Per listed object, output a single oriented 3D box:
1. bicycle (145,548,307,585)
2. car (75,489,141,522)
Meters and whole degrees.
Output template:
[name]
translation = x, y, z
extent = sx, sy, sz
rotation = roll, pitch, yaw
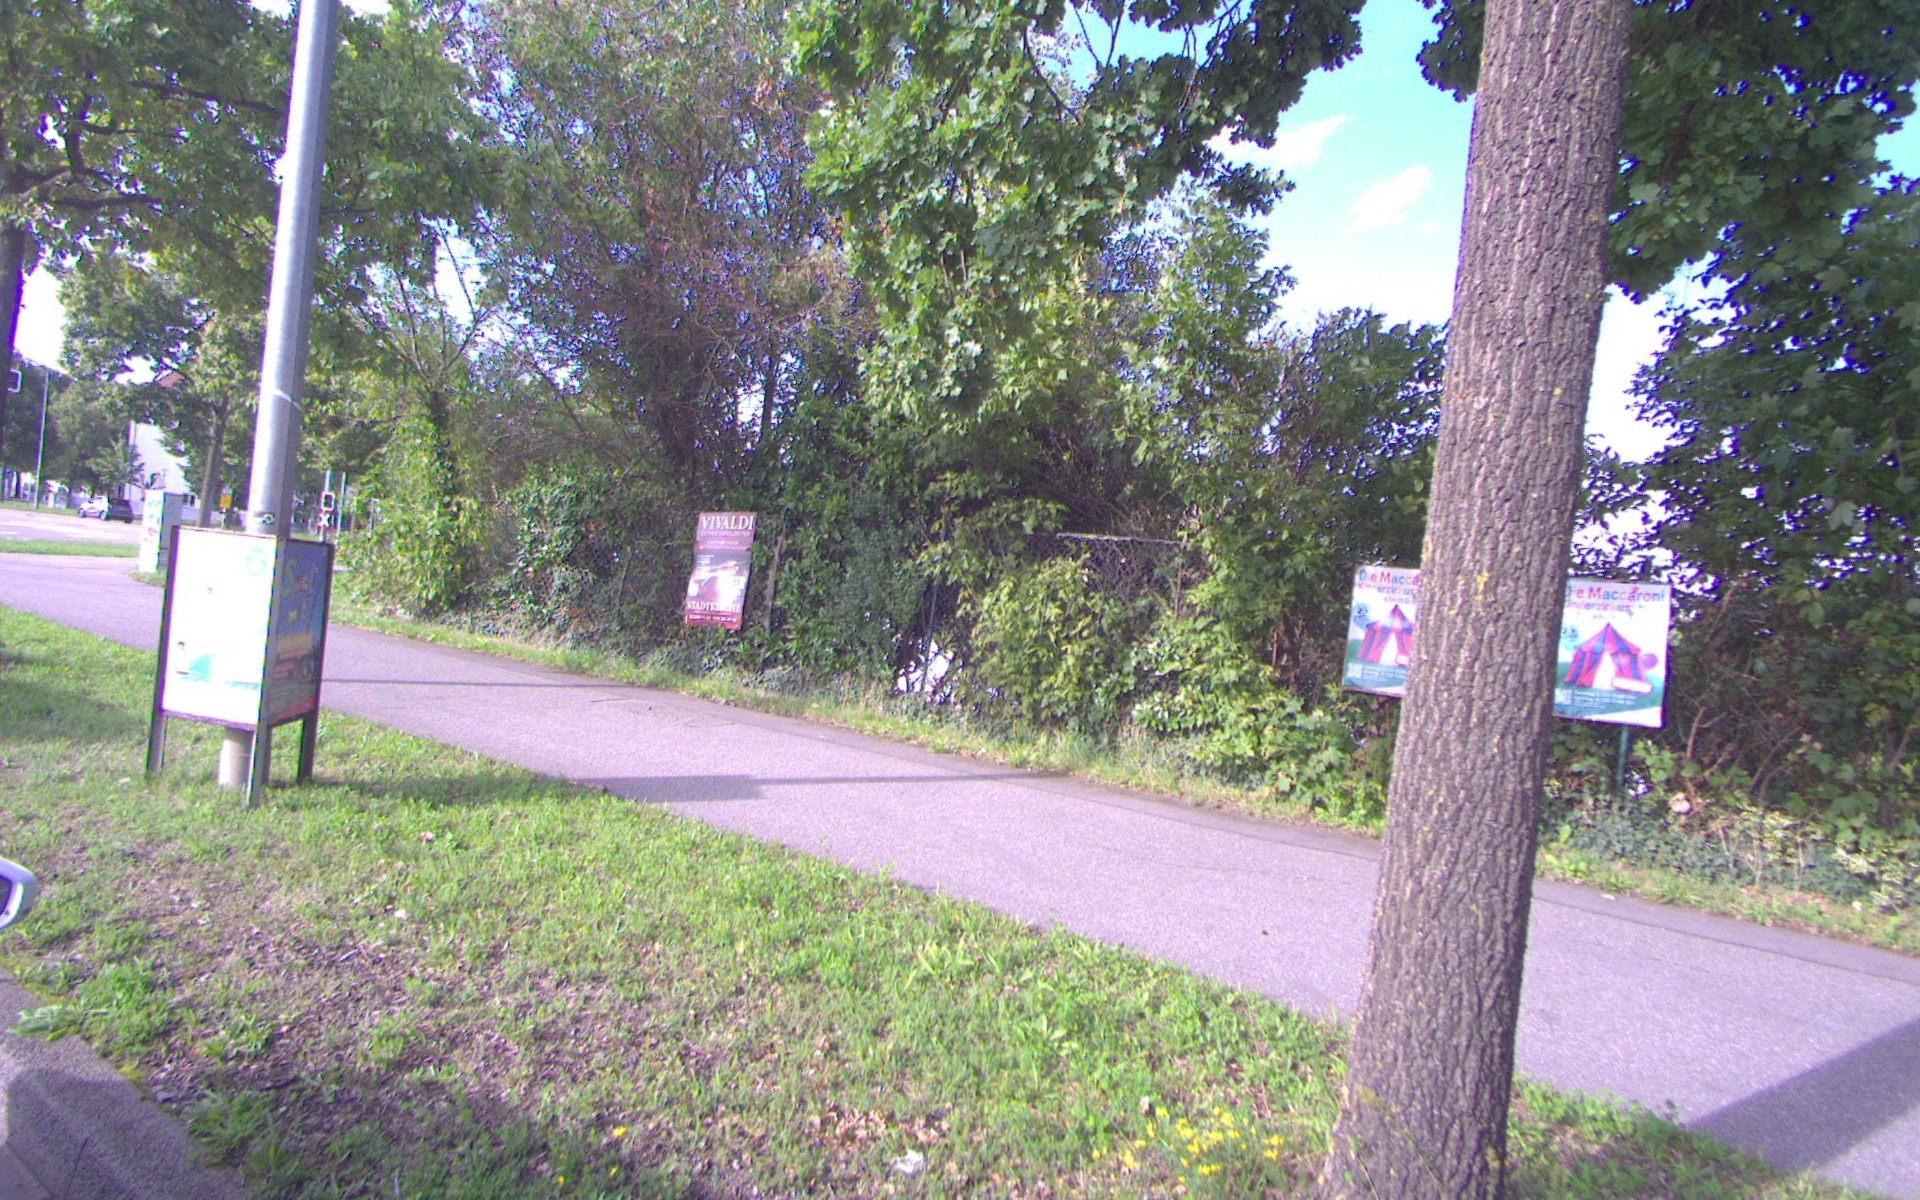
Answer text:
[bicycle]
translation = -14.486, -0.657, 19.878
extent = 2.529, 0.390, 1.411
rotation = 7, 0, 21
[car]
translation = -54.031, -5.991, 63.806
extent = 3.138, 1.593, 1.575
rotation = 8, 0, 17
